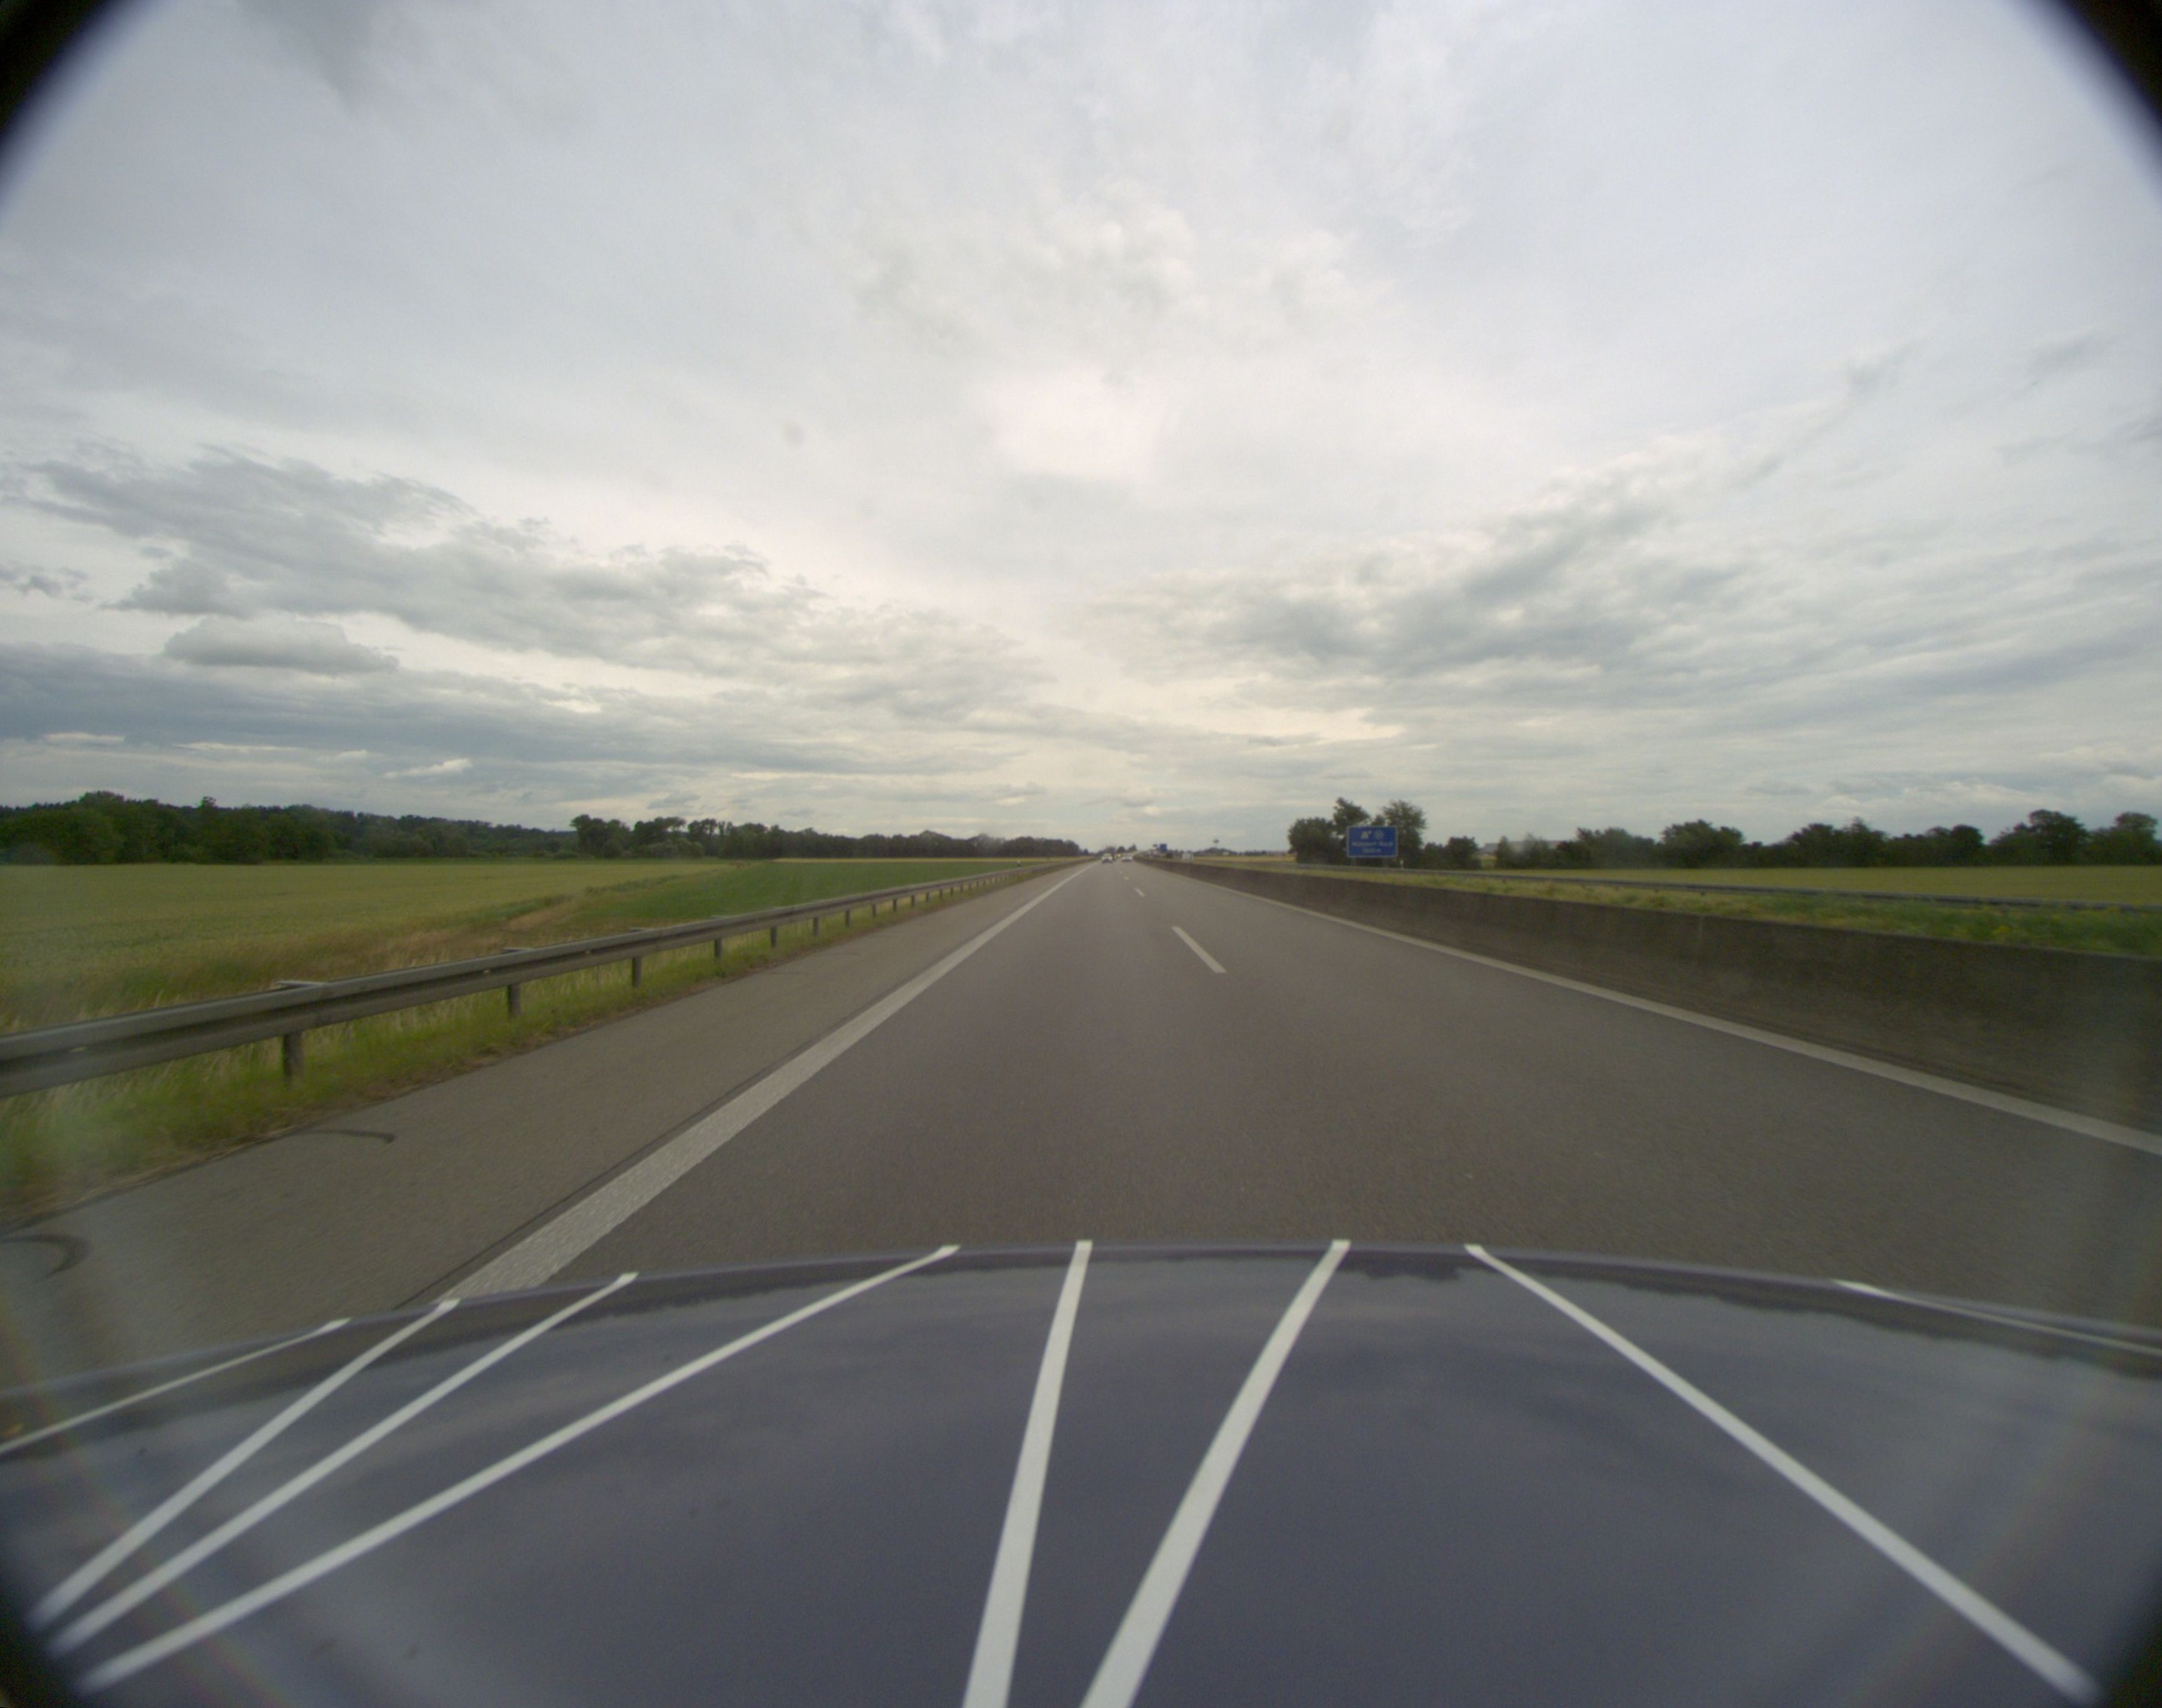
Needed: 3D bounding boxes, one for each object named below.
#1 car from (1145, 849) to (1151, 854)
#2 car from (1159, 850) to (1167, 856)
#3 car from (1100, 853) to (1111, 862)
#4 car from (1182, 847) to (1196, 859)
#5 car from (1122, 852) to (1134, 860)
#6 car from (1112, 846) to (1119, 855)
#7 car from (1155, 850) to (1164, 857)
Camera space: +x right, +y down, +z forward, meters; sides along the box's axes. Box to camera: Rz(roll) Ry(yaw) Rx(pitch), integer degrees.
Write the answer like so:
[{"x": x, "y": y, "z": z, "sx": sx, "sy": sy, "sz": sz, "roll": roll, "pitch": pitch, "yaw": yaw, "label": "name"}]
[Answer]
[{"x": 23.469, "y": -0.867, "z": 264.374, "sx": 1.693, "sy": 1.483, "sz": 4.183, "roll": -1, "pitch": 0, "yaw": 0, "label": "car"}, {"x": 22.404, "y": -0.285, "z": 207.594, "sx": 1.693, "sy": 1.483, "sz": 4.183, "roll": -1, "pitch": 0, "yaw": 0, "label": "car"}, {"x": 4.434, "y": 0.695, "z": 138.272, "sx": 1.916, "sy": 1.553, "sz": 4.287, "roll": -1, "pitch": 1, "yaw": 0, "label": "car"}, {"x": 19.460, "y": -0.229, "z": 136.618, "sx": 2.035, "sy": 2.097, "sz": 4.906, "roll": -1, "pitch": 0, "yaw": 3, "label": "car"}, {"x": 9.402, "y": 0.451, "z": 152.207, "sx": 1.917, "sy": 1.553, "sz": 4.285, "roll": -1, "pitch": 1, "yaw": -5, "label": "car"}, {"x": 8.731, "y": -0.888, "z": 192.368, "sx": 1.915, "sy": 2.248, "sz": 5.313, "roll": -1, "pitch": 1, "yaw": 2, "label": "car"}, {"x": 17.528, "y": -0.092, "z": 170.170, "sx": 1.693, "sy": 1.617, "sz": 4.183, "roll": -1, "pitch": 0, "yaw": 0, "label": "car"}]
